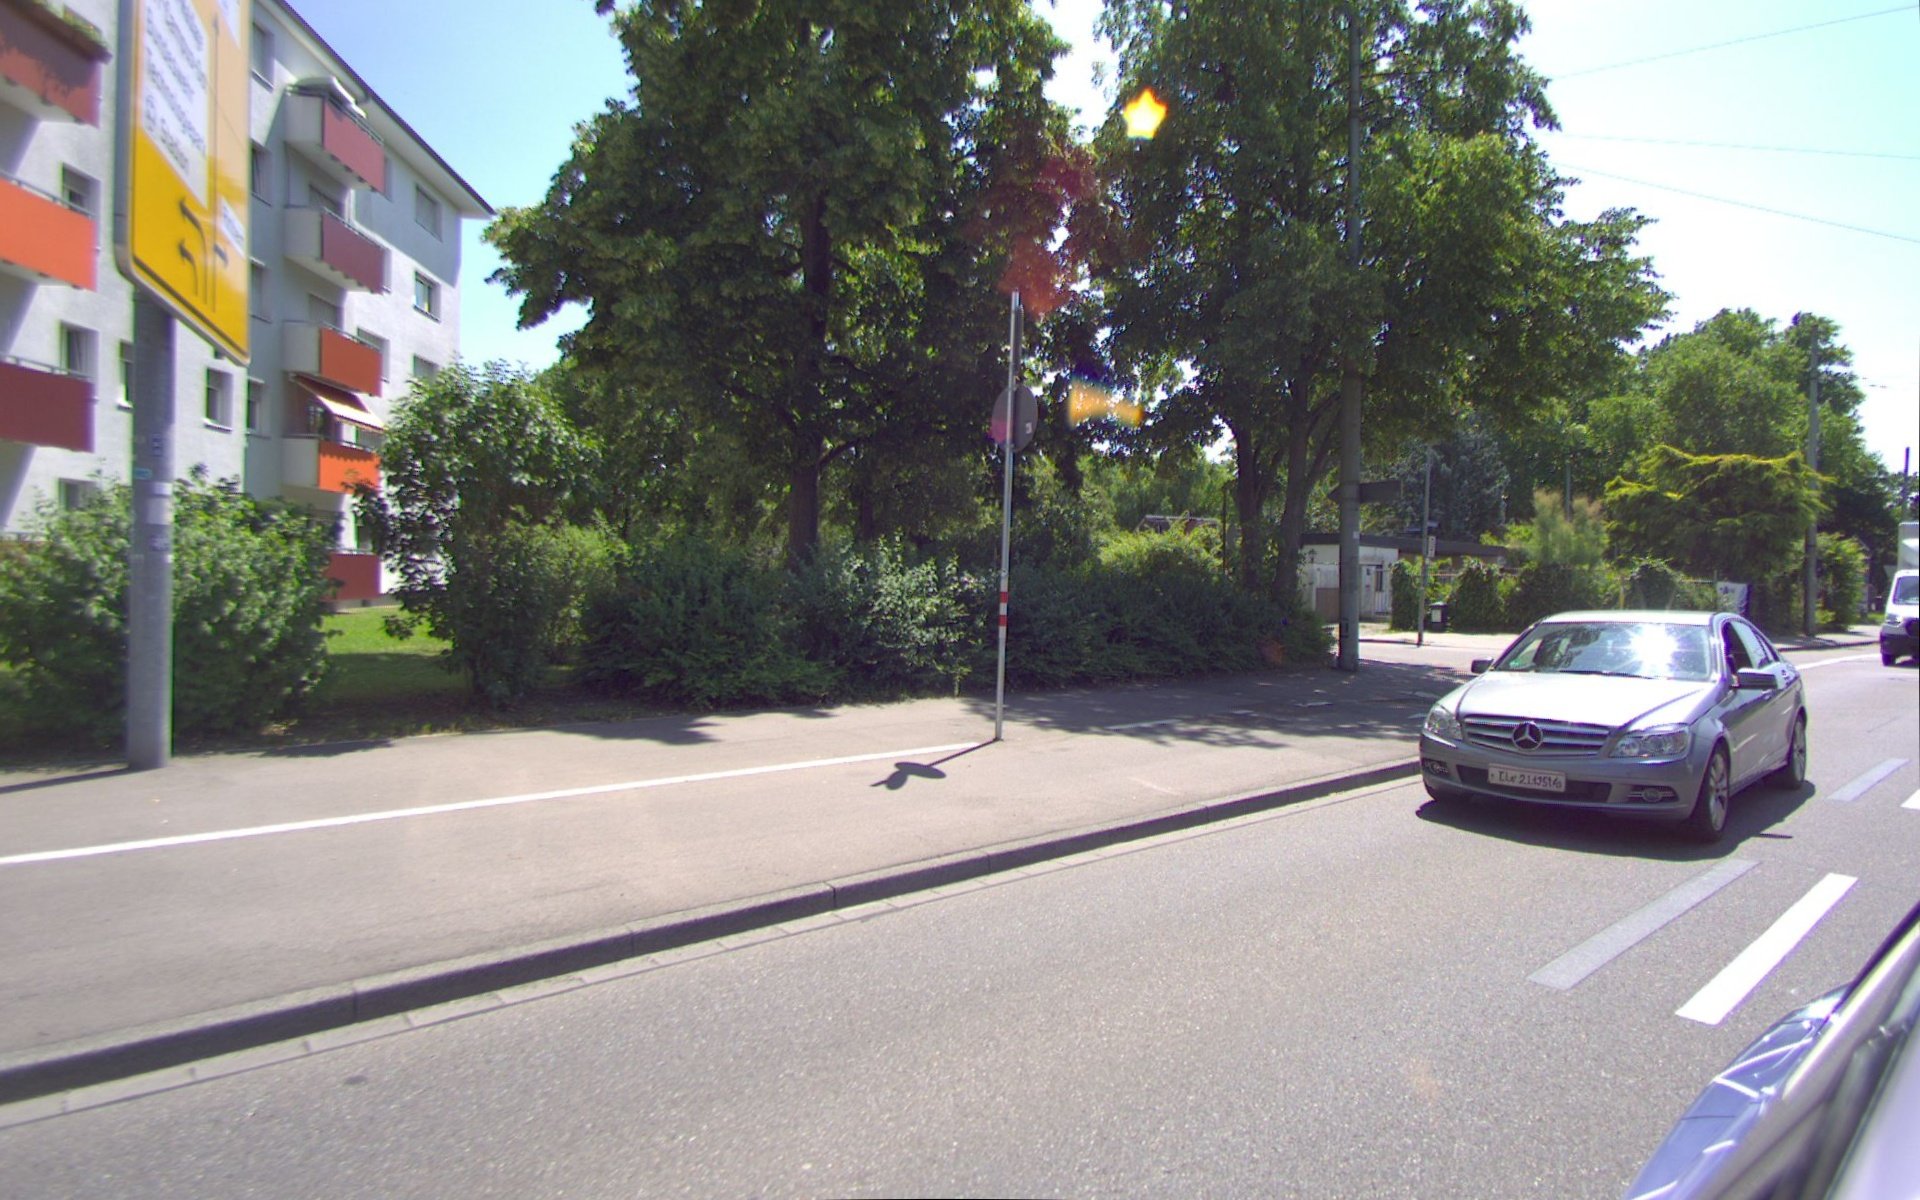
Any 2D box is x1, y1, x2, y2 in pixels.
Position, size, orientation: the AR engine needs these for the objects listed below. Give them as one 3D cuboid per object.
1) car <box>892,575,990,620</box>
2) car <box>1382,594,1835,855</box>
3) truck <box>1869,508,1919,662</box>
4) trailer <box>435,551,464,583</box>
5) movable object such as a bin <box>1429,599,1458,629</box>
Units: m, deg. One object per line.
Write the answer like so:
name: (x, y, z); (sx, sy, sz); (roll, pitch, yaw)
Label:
car: (-0.758, -0.122, 37.587); (1.692, 1.559, 4.001); (0, 1, -35)
car: (5.104, 0.695, 7.774); (3.901, 1.478, 1.902); (0, 1, -41)
truck: (24.160, -0.350, 24.060); (8.159, 3.319, 2.295); (0, 1, -37)
trailer: (-59.975, -3.857, 118.867); (1.963, 3.554, 5.864); (0, 1, -37)
movable object such as a bin: (15.586, 0.441, 32.611); (0.625, 0.914, 0.631); (0, 1, -37)
